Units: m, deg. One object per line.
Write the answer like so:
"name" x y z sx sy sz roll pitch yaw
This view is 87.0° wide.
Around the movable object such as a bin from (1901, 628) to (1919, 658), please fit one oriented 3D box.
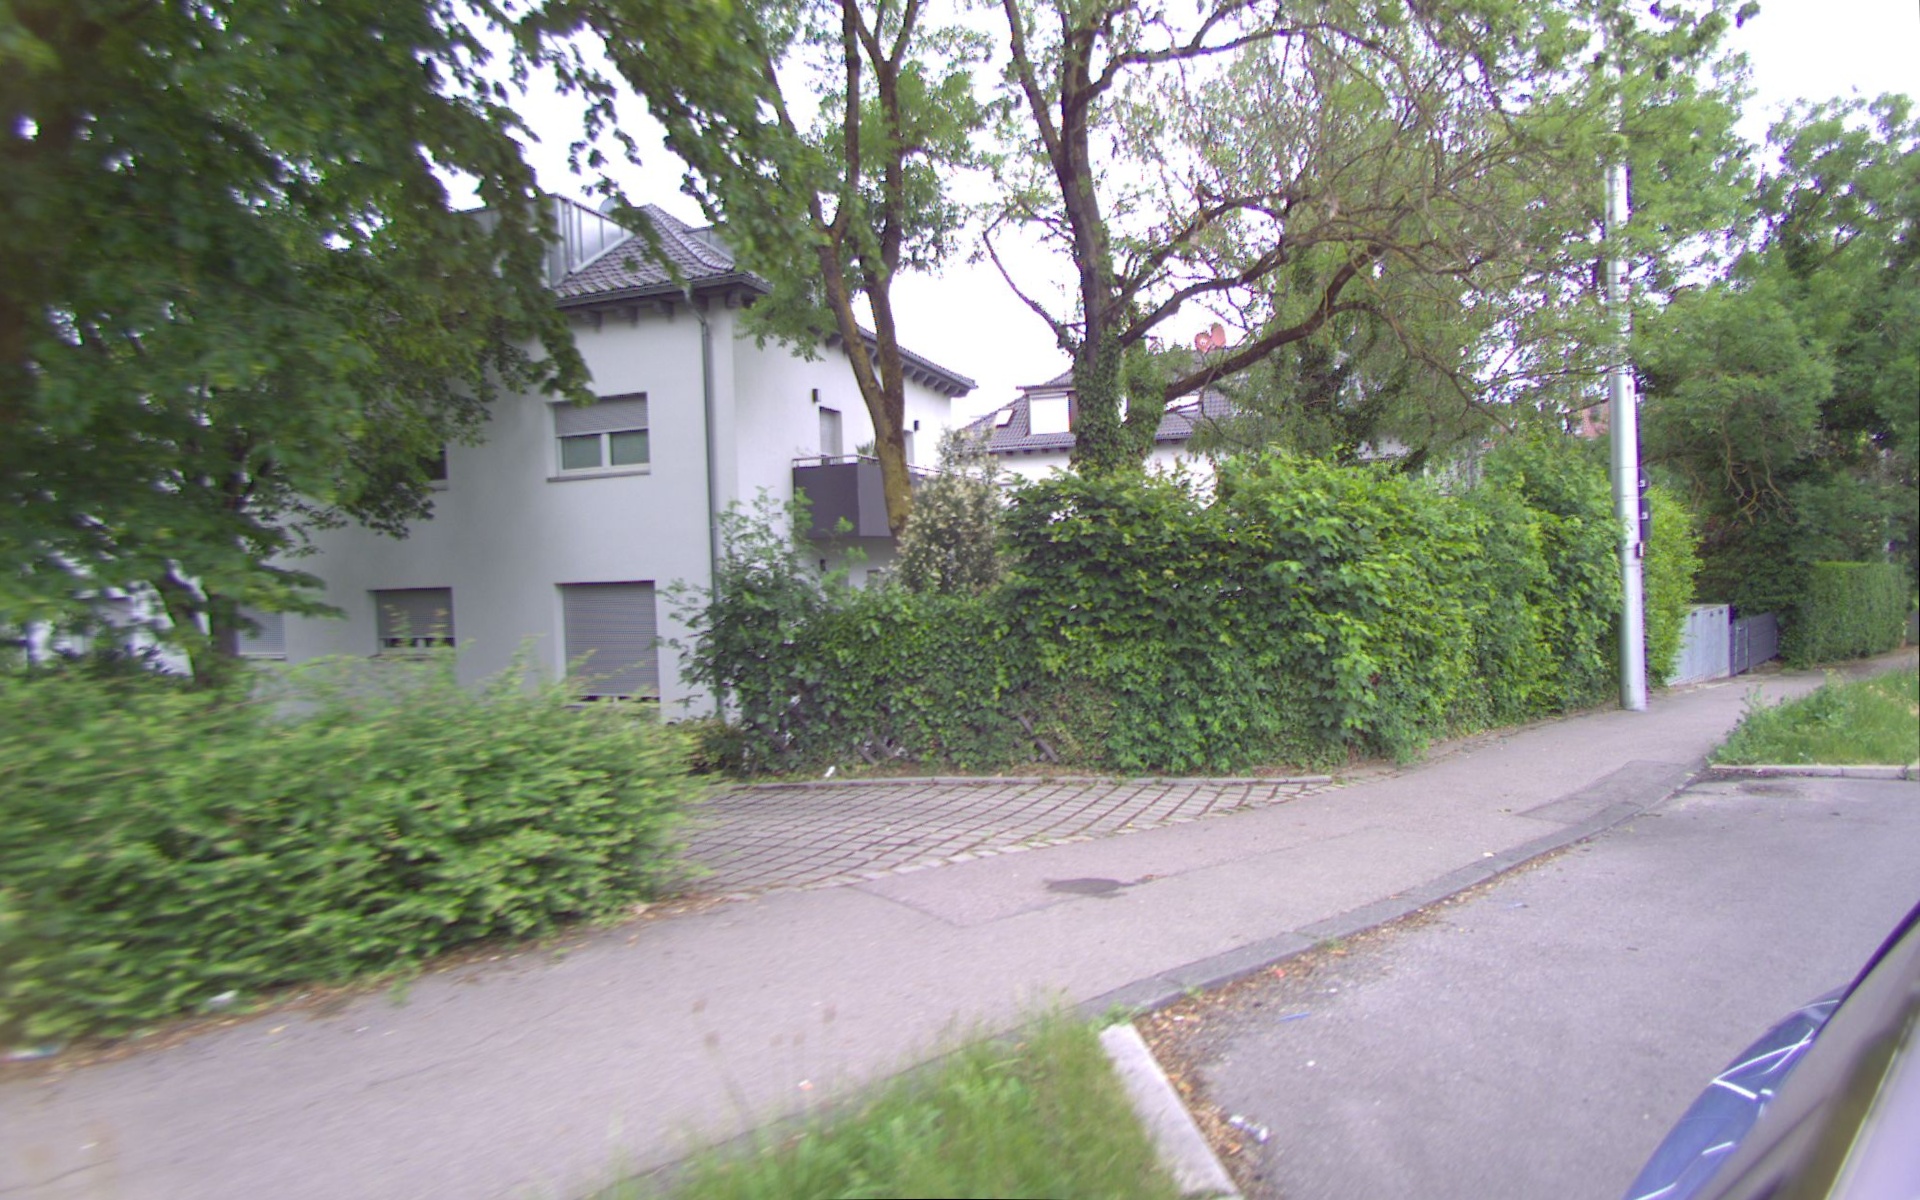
"movable object such as a bin" 29.584 1.329 31.428 0.446 0.922 0.473 0 -1 -40
